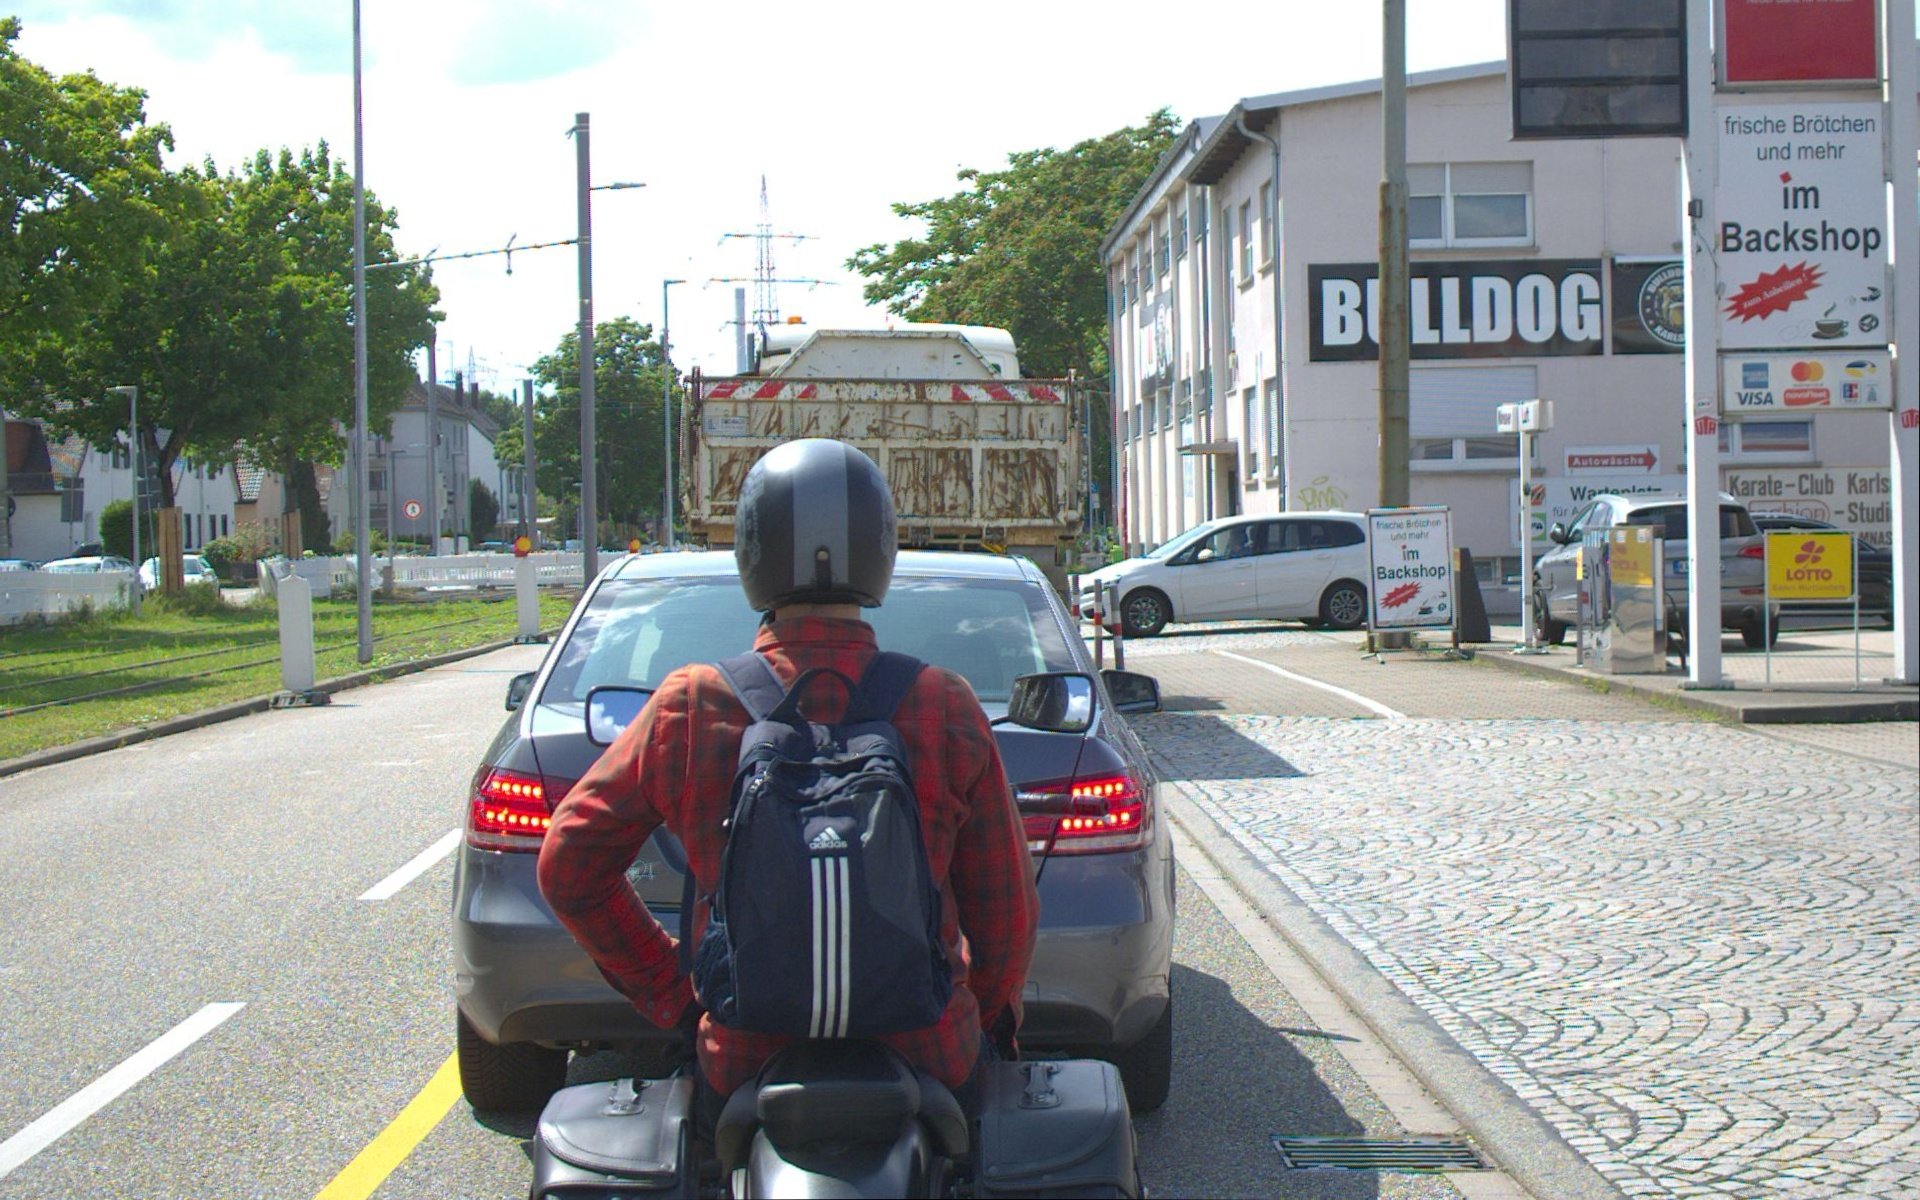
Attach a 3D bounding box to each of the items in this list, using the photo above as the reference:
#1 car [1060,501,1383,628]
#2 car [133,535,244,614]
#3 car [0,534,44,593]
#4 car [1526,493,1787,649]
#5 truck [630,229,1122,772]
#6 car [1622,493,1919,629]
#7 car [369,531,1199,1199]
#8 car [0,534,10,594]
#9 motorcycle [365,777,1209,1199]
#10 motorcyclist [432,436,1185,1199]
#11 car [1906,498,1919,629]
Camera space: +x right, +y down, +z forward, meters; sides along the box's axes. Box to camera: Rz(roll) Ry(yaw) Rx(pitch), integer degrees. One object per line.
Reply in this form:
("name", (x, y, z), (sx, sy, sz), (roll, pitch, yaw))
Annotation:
("car", (3.548, -0.496, 47.033), (4.104, 1.619, 1.686), (-1, 1, -8))
("car", (-17.865, -0.615, 79.749), (1.698, 1.733, 3.860), (-1, 1, 0))
("car", (-29.268, -1.103, 104.590), (1.698, 1.733, 4.062), (-1, 1, 0))
("car", (7.348, -0.338, 36.648), (1.832, 1.530, 4.010), (-1, 1, -2))
("truck", (-0.637, -0.711, 25.471), (2.970, 3.293, 8.408), (-1, 1, -2))
("car", (10.642, -0.513, 43.790), (4.105, 1.619, 1.686), (-1, 1, 2))
("car", (-0.451, 0.570, 9.751), (1.832, 1.474, 4.010), (-1, 1, -2))
("car", (-28.673, -0.992, 98.580), (1.698, 1.733, 4.062), (-1, 1, 0))
("motorcycle", (-0.218, 0.866, 5.210), (0.976, 1.010, 2.432), (1, 1, -1))
("motorcyclist", (-0.208, 0.591, 5.087), (0.969, 1.627, 1.215), (1, 1, -1))
("car", (11.786, -0.397, 37.245), (1.832, 1.474, 4.010), (-1, 1, -2))
